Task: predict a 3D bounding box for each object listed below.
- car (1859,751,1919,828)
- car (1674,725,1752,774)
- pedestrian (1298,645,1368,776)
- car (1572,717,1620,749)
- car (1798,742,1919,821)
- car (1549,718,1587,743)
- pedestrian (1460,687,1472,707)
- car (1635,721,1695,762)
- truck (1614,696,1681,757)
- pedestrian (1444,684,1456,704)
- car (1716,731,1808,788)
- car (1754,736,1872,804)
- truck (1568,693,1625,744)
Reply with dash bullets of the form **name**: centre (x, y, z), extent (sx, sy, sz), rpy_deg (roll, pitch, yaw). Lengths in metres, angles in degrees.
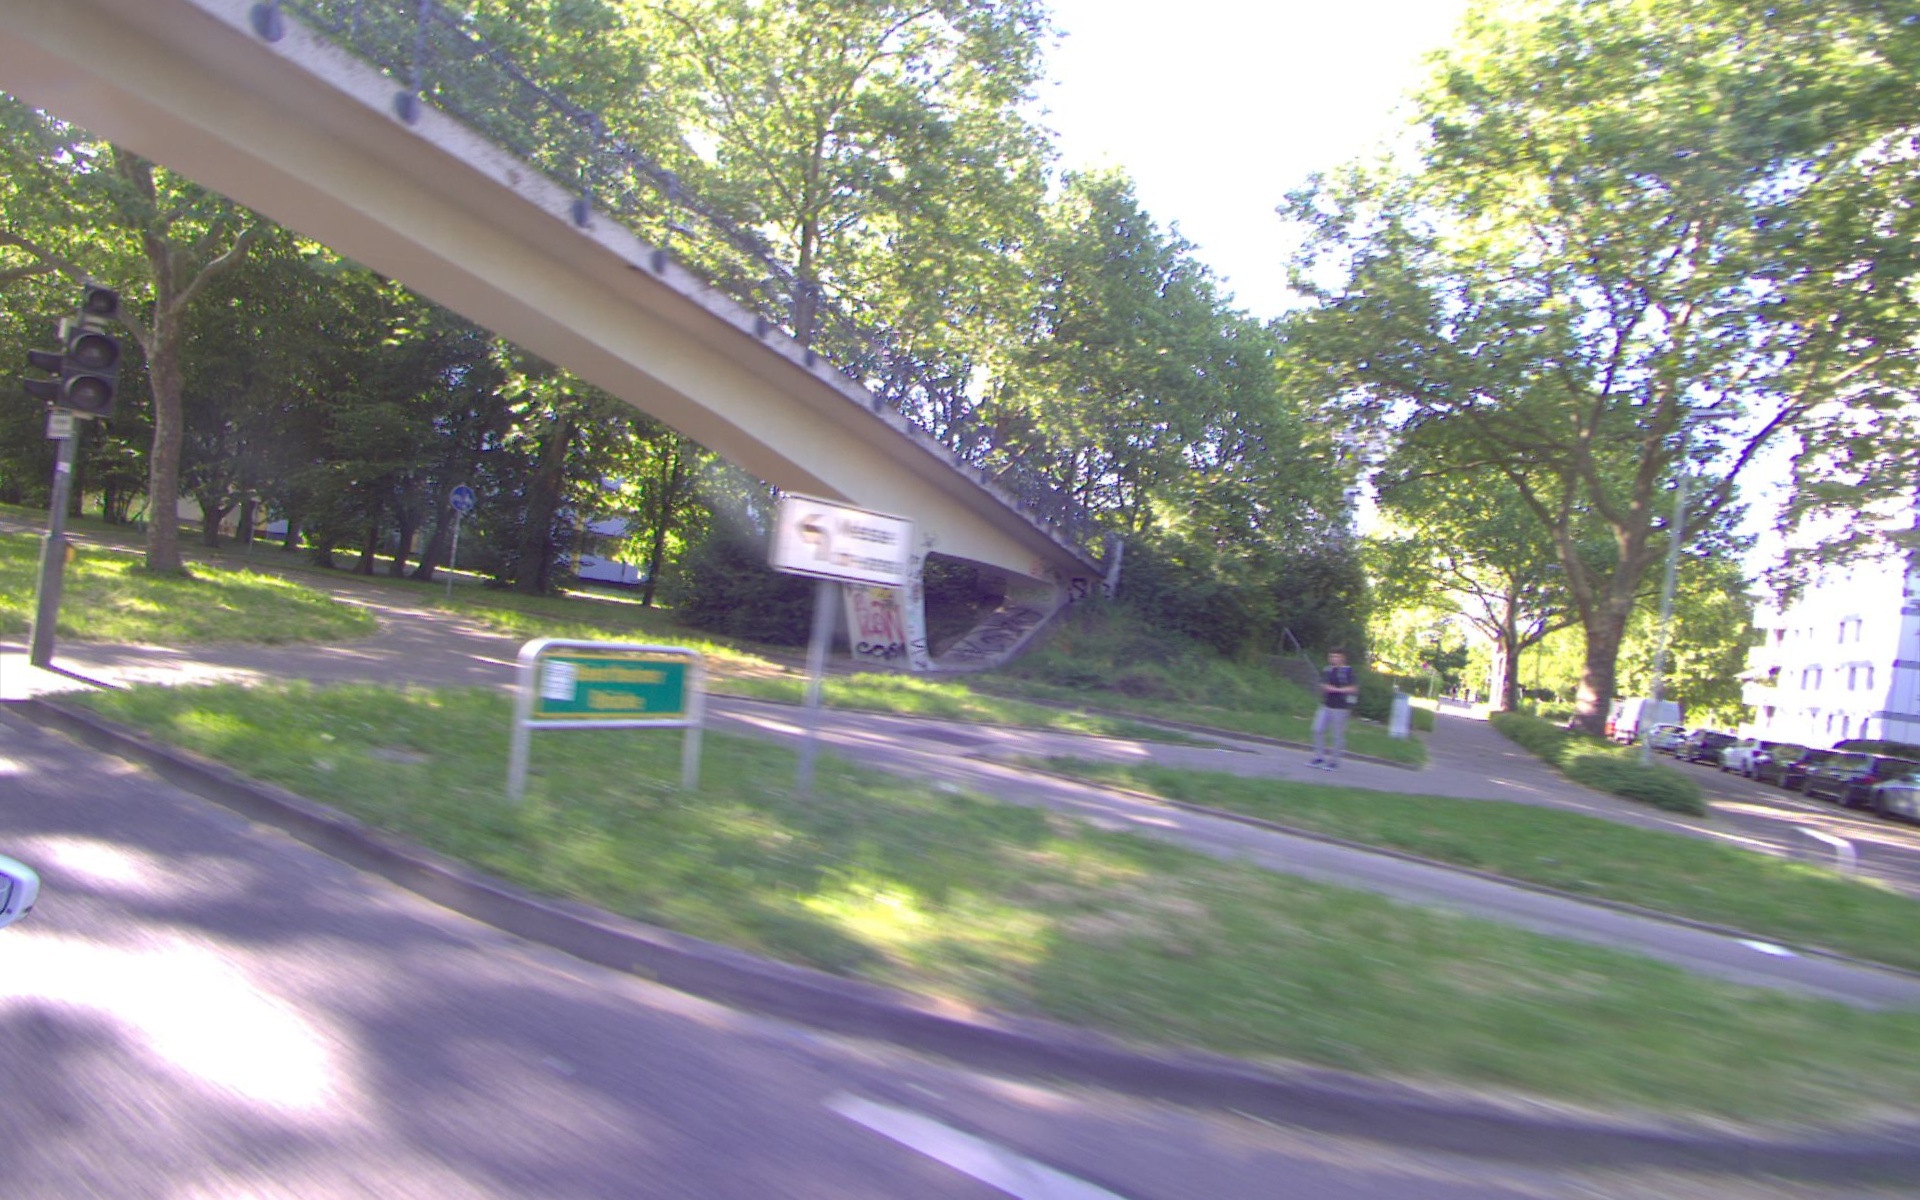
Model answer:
- **car**: centre (21.738, 4.328, 21.898), extent (1.637, 1.513, 3.988), rpy_deg (10, -1, 20)
- **car**: centre (30.703, 6.069, 41.119), extent (1.638, 1.513, 3.591), rpy_deg (10, -1, 25)
- **pedestrian**: centre (5.563, 1.628, 14.995), extent (0.726, 1.799, 0.660), rpy_deg (9, 0, 22)
- **car**: centre (39.157, 8.171, 61.983), extent (1.637, 1.513, 3.593), rpy_deg (10, -1, 21)
- **car**: centre (23.540, 4.672, 26.098), extent (1.594, 1.513, 3.592), rpy_deg (10, -1, 23)
- **car**: centre (46.540, 9.977, 77.077), extent (1.637, 1.513, 3.593), rpy_deg (10, -1, 21)
- **pedestrian**: centre (54.086, 10.354, 107.553), extent (0.928, 2.038, 1.019), rpy_deg (7, 0, 27)
- **car**: centre (34.407, 6.880, 49.197), extent (1.638, 1.513, 3.590), rpy_deg (10, -1, 26)
- **truck**: centre (37.559, 6.858, 55.063), extent (1.881, 2.851, 5.185), rpy_deg (10, -1, 26)
- **pedestrian**: centre (52.628, 10.081, 108.097), extent (0.928, 2.038, 1.019), rpy_deg (7, 0, 27)
- **car**: centre (28.287, 5.602, 35.584), extent (1.556, 1.513, 3.591), rpy_deg (10, -1, 25)
- **car**: centre (25.969, 5.125, 30.775), extent (1.598, 1.513, 3.591), rpy_deg (10, -1, 24)
- **truck**: centre (43.361, 8.035, 68.662), extent (1.880, 3.013, 5.189), rpy_deg (10, -1, 21)
